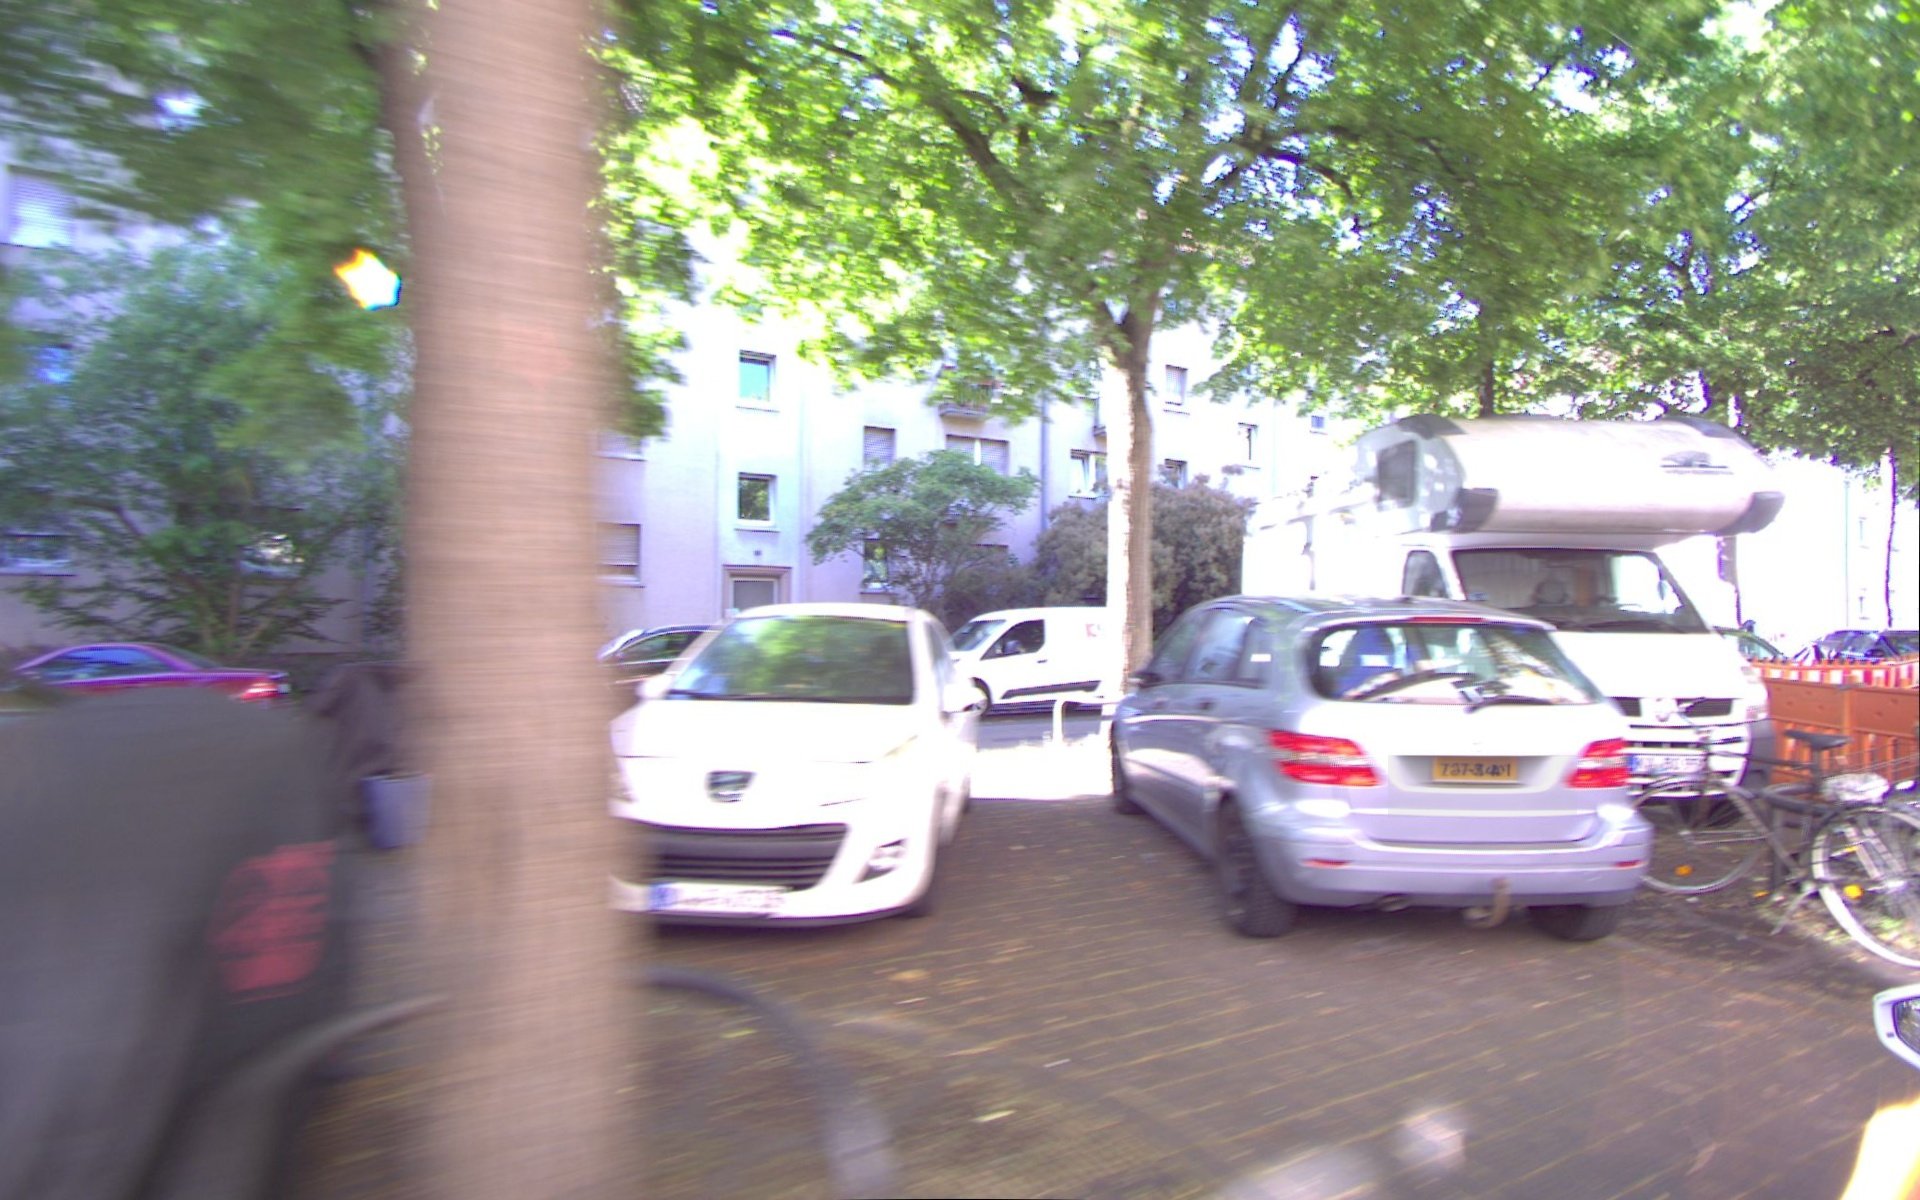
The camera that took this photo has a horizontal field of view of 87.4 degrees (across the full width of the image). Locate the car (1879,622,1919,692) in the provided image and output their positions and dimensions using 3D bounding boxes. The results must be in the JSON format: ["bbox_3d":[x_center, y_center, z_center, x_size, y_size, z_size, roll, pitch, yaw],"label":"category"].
[{"bbox_3d":[21.317,1.207,20.337,1.548,1.480,3.908,1,-1,-8],"label":"car"}]

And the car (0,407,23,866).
[{"bbox_3d":[-6.294,0.122,2.547,2.097,2.544,6.202,0,-1,-2],"label":"car"}]

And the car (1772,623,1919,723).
[{"bbox_3d":[15.793,1.168,16.660,1.637,1.539,4.002,0,-2,5],"label":"car"}]

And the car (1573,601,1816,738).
[{"bbox_3d":[10.315,0.924,14.359,1.393,1.739,2.994,1,-1,3],"label":"car"}]

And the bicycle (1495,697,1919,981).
[{"bbox_3d":[3.830,1.068,4.991,0.494,0.991,2.372,1,-1,-19],"label":"bicycle"}]

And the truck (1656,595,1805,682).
[{"bbox_3d":[22.974,1.137,29.945,4.209,2.441,1.915,1,-1,-27],"label":"truck"}]

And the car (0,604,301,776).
[{"bbox_3d":[-9.616,0.947,10.980,3.893,1.720,1.706,1,-3,-30],"label":"car"}]

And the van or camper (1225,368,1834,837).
[{"bbox_3d":[4.498,0.091,9.554,2.352,3.041,6.034,0,-1,0],"label":"van or camper"}]

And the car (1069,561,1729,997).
[{"bbox_3d":[1.953,0.728,5.882,1.764,1.638,3.996,0,-1,-7],"label":"car"}]

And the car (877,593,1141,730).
[{"bbox_3d":[0.874,0.955,16.838,4.218,2.040,1.612,1,0,-31],"label":"car"}]

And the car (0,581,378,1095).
[{"bbox_3d":[-3.664,0.680,2.513,1.703,1.503,4.526,0,-1,1],"label":"car"}]

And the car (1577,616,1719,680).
[{"bbox_3d":[18.729,1.265,27.317,4.145,1.595,1.612,1,0,-31],"label":"car"}]

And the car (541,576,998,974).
[{"bbox_3d":[-0.704,0.735,5.937,1.648,1.565,3.828,0,-1,5],"label":"car"}]

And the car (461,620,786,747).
[{"bbox_3d":[-4.602,1.045,13.789,3.952,1.505,1.985,1,-2,-29],"label":"car"}]
